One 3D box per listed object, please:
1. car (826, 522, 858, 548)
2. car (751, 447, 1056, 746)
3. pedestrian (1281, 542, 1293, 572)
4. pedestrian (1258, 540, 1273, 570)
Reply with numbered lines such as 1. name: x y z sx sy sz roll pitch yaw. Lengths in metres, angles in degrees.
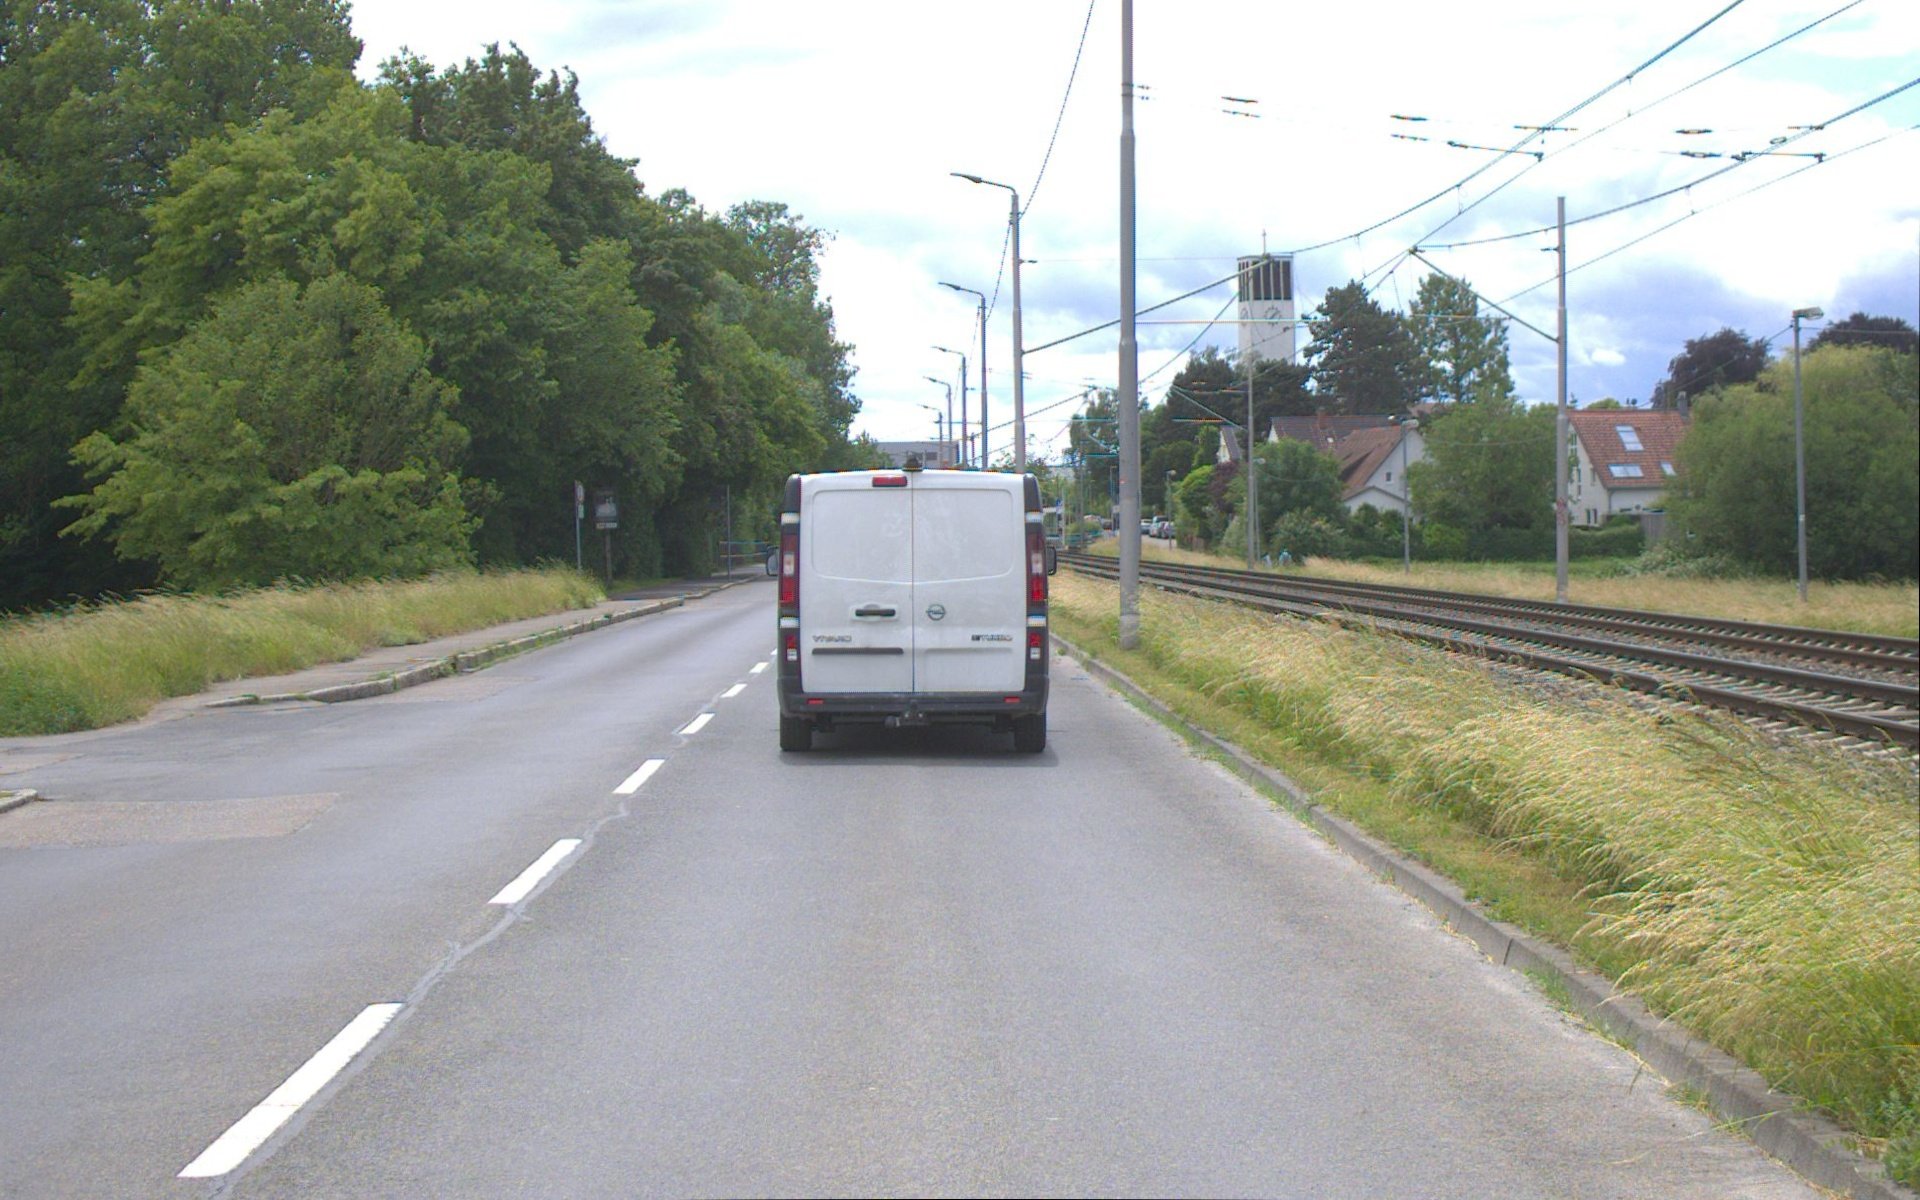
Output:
1. car: -8.043 -4.422 234.509 1.993 1.711 4.124 -1 1 0
2. car: -0.443 -0.049 24.720 1.993 1.950 4.000 1 1 -2
3. pedestrian: 16.338 -2.146 171.912 0.526 1.501 0.657 -1 1 -2
4. pedestrian: 15.475 -2.279 174.020 0.656 1.501 0.657 -1 1 -2
